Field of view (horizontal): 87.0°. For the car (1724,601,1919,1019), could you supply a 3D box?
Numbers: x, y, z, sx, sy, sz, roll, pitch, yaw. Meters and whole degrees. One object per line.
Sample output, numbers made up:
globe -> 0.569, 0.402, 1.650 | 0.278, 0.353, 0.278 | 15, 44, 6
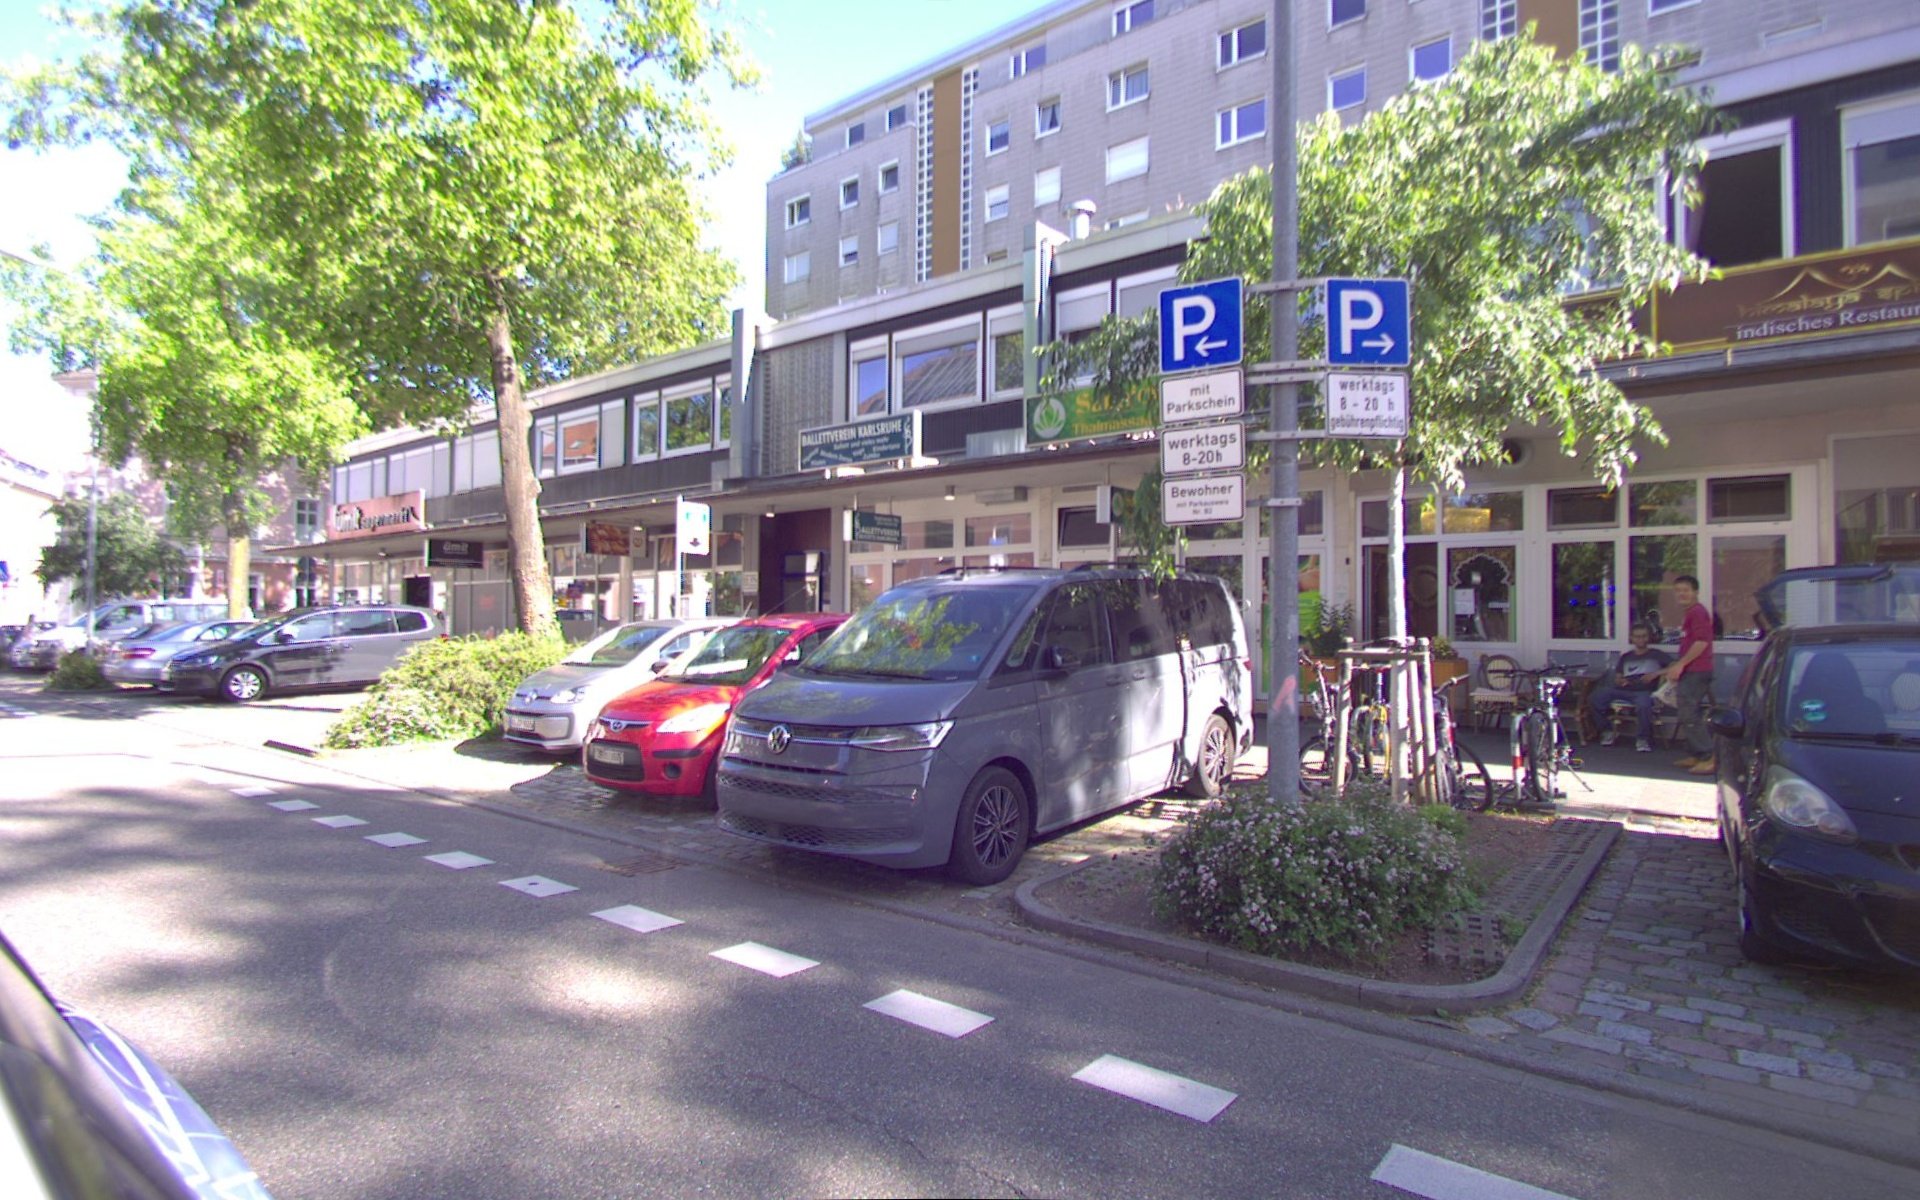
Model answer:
car -> 4.753, 0.742, 4.848 | 1.610, 1.461, 3.634 | -1, -1, 35

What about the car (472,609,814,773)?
car -> -3.550, 0.918, 11.847 | 1.668, 1.573, 3.556 | -1, -1, 35

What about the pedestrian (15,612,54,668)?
pedestrian -> -28.125, 1.207, 30.758 | 0.807, 1.652, 0.718 | -1, -2, 38

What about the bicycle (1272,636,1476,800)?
bicycle -> 3.509, 0.898, 8.453 | 0.801, 1.176, 2.211 | -2, -2, 44

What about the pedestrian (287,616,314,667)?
pedestrian -> -20.441, 1.271, 31.375 | 0.662, 1.567, 0.522 | -1, 0, 39

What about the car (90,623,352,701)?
car -> -14.827, 1.185, 20.495 | 1.757, 1.409, 3.950 | -1, -2, 37

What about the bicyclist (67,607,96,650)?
bicyclist -> -35.126, 1.147, 40.476 | 0.806, 1.686, 0.849 | 2, -2, -39

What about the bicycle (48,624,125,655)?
bicycle -> -34.967, 1.560, 40.557 | 2.253, 1.195, 0.877 | 0, -1, -37

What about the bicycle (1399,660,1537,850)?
bicycle -> 3.472, 0.954, 6.834 | 0.613, 1.047, 1.847 | -1, -2, 33

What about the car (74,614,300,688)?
car -> -18.346, 1.152, 24.172 | 1.734, 1.431, 3.951 | -1, 1, 37

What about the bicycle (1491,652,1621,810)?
bicycle -> 4.679, 0.948, 7.887 | 0.614, 1.047, 1.844 | -1, -2, 39

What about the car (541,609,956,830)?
car -> -1.753, 0.896, 9.280 | 1.658, 1.566, 3.525 | -1, -1, 36

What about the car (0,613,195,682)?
car -> -24.256, 1.293, 28.560 | 1.755, 1.805, 3.949 | -1, -2, 38

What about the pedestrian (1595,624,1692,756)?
pedestrian -> 6.881, 0.875, 10.188 | 0.746, 1.255, 0.642 | -1, -2, 39

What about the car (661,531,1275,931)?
car -> 0.470, 0.645, 7.495 | 1.871, 1.953, 4.981 | -1, -1, 38

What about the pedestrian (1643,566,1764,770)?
pedestrian -> 6.581, 0.585, 8.973 | 0.571, 1.725, 0.637 | 1, -2, -23

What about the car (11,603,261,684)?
car -> -22.011, 1.079, 27.260 | 1.906, 1.984, 4.936 | -1, -1, 37

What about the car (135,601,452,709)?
car -> -12.516, 0.937, 19.327 | 1.871, 1.790, 4.725 | -1, -1, 37

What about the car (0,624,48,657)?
car -> -48.711, 2.072, 52.030 | 1.645, 1.650, 4.061 | 1, -2, -27
